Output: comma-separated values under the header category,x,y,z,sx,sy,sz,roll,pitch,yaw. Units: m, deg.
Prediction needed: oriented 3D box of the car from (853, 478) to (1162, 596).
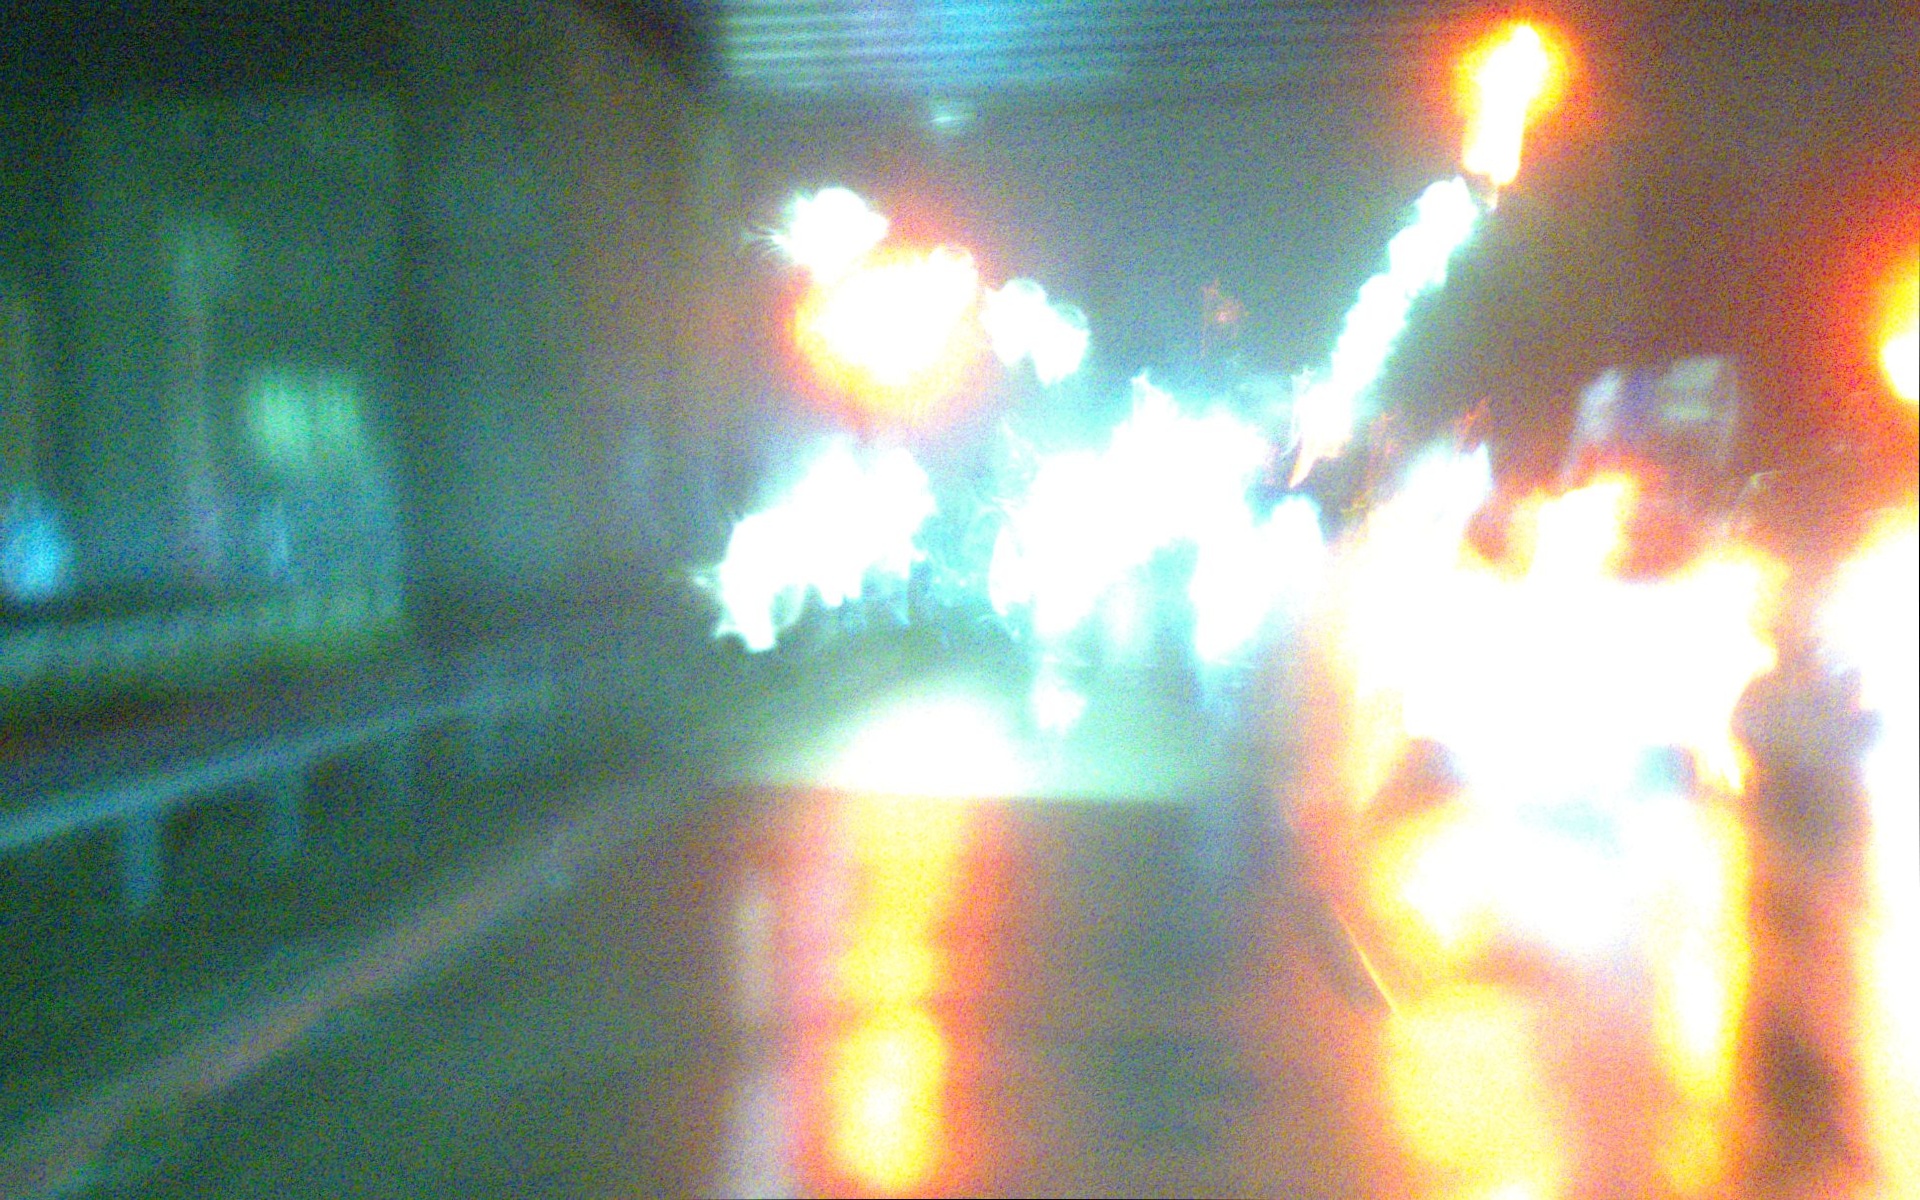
category,x,y,z,sx,sy,sz,roll,pitch,yaw
car,0.700,-1.003,53.674,4.835,1.763,1.832,2,2,43

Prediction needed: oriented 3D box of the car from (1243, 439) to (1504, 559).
category,x,y,z,sx,sy,sz,roll,pitch,yaw
car,7.859,-1.919,65.833,2.441,2.186,5.080,0,1,-29

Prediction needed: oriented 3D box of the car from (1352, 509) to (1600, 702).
category,x,y,z,sx,sy,sz,roll,pitch,yaw
car,4.184,-0.005,28.426,1.720,1.441,4.382,-1,1,5

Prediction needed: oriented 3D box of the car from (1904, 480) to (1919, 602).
category,x,y,z,sx,sy,sz,roll,pitch,yaw
car,17.971,-0.965,57.119,4.295,2.007,2.044,1,1,12

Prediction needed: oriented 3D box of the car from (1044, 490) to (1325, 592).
category,x,y,z,sx,sy,sz,roll,pitch,yaw
car,3.654,-0.987,56.491,4.378,1.617,1.832,1,1,41

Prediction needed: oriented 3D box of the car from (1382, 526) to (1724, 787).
category,x,y,z,sx,sy,sz,roll,pitch,yaw
car,3.557,0.270,21.241,1.720,1.441,4.162,0,1,5

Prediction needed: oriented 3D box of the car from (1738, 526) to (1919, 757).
category,x,y,z,sx,sy,sz,roll,pitch,yaw
car,6.609,0.219,24.000,1.720,1.441,4.162,-1,1,5
